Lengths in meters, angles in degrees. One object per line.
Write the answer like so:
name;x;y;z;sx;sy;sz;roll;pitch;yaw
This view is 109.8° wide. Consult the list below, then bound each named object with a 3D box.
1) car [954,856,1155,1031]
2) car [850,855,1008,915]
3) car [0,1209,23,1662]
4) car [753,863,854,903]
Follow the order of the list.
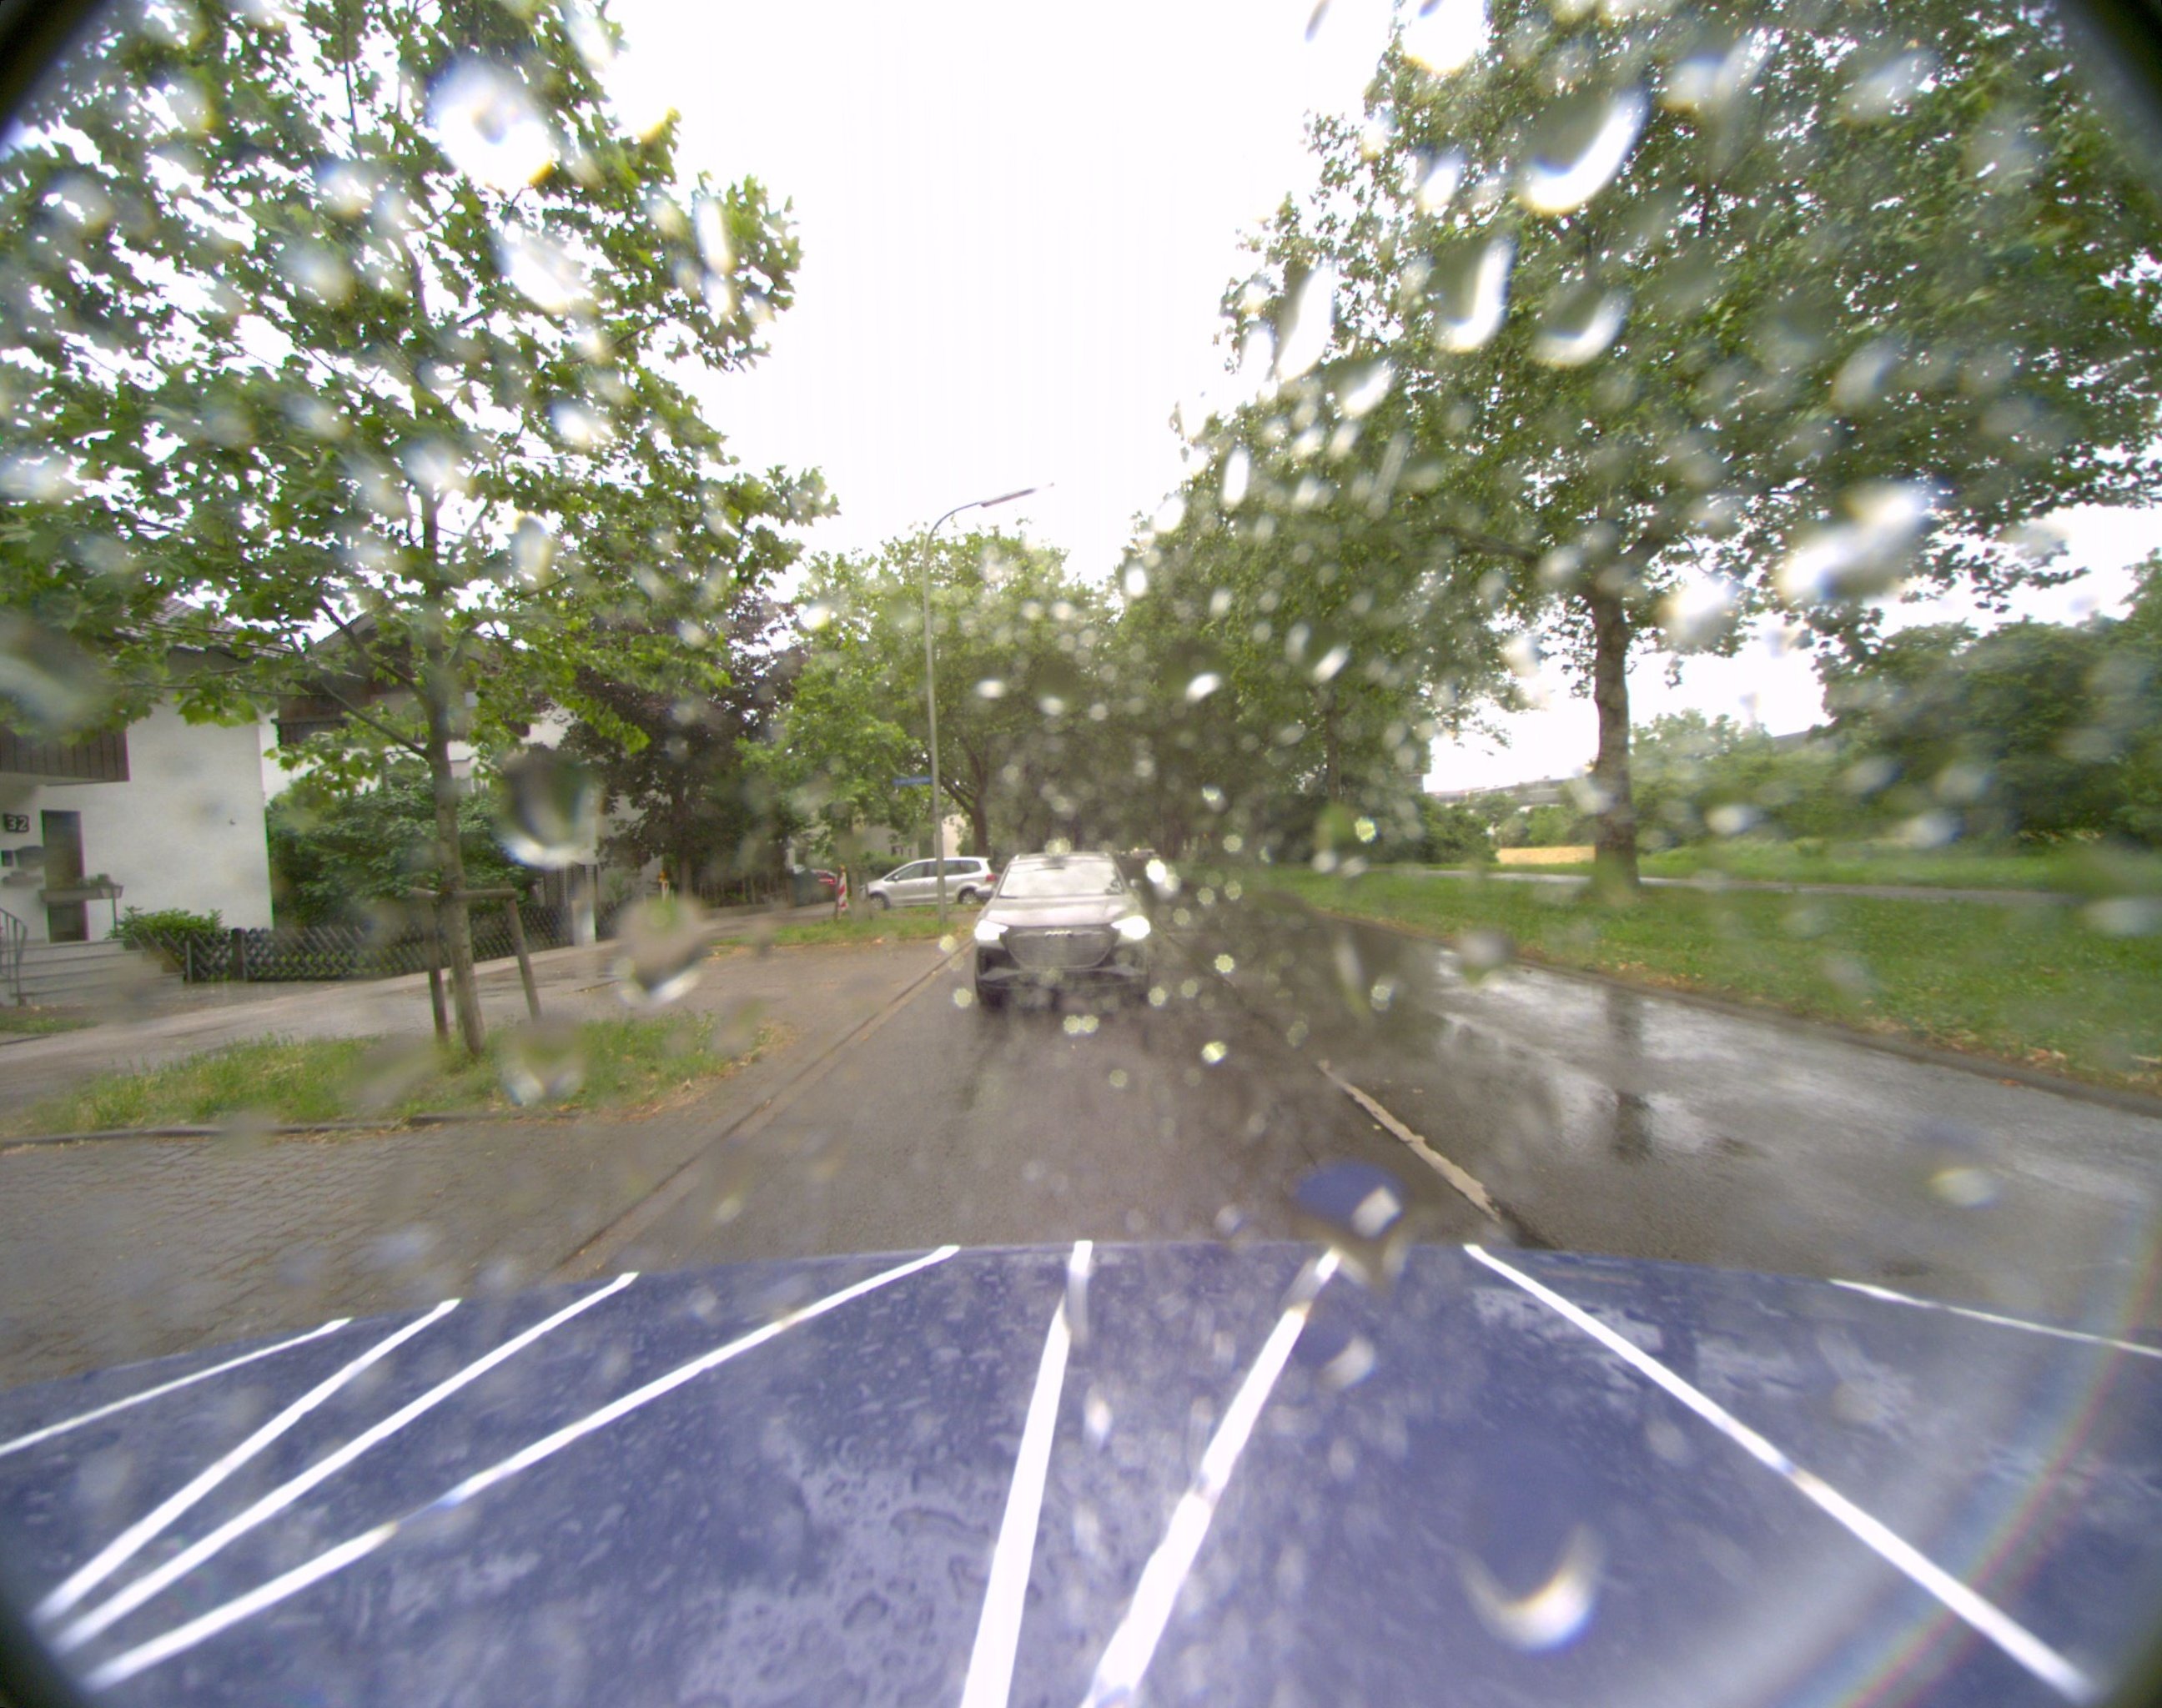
car;-0.218;0.872;9.535;1.862;1.608;4.424;-3;0;1
car;-4.827;0.967;24.731;4.701;1.651;1.976;-3;0;-1
car;-4.743;1.138;0.602;4.779;1.464;1.937;-2;0;-3
car;-12.672;1.294;34.866;3.853;1.603;1.843;-3;0;2
